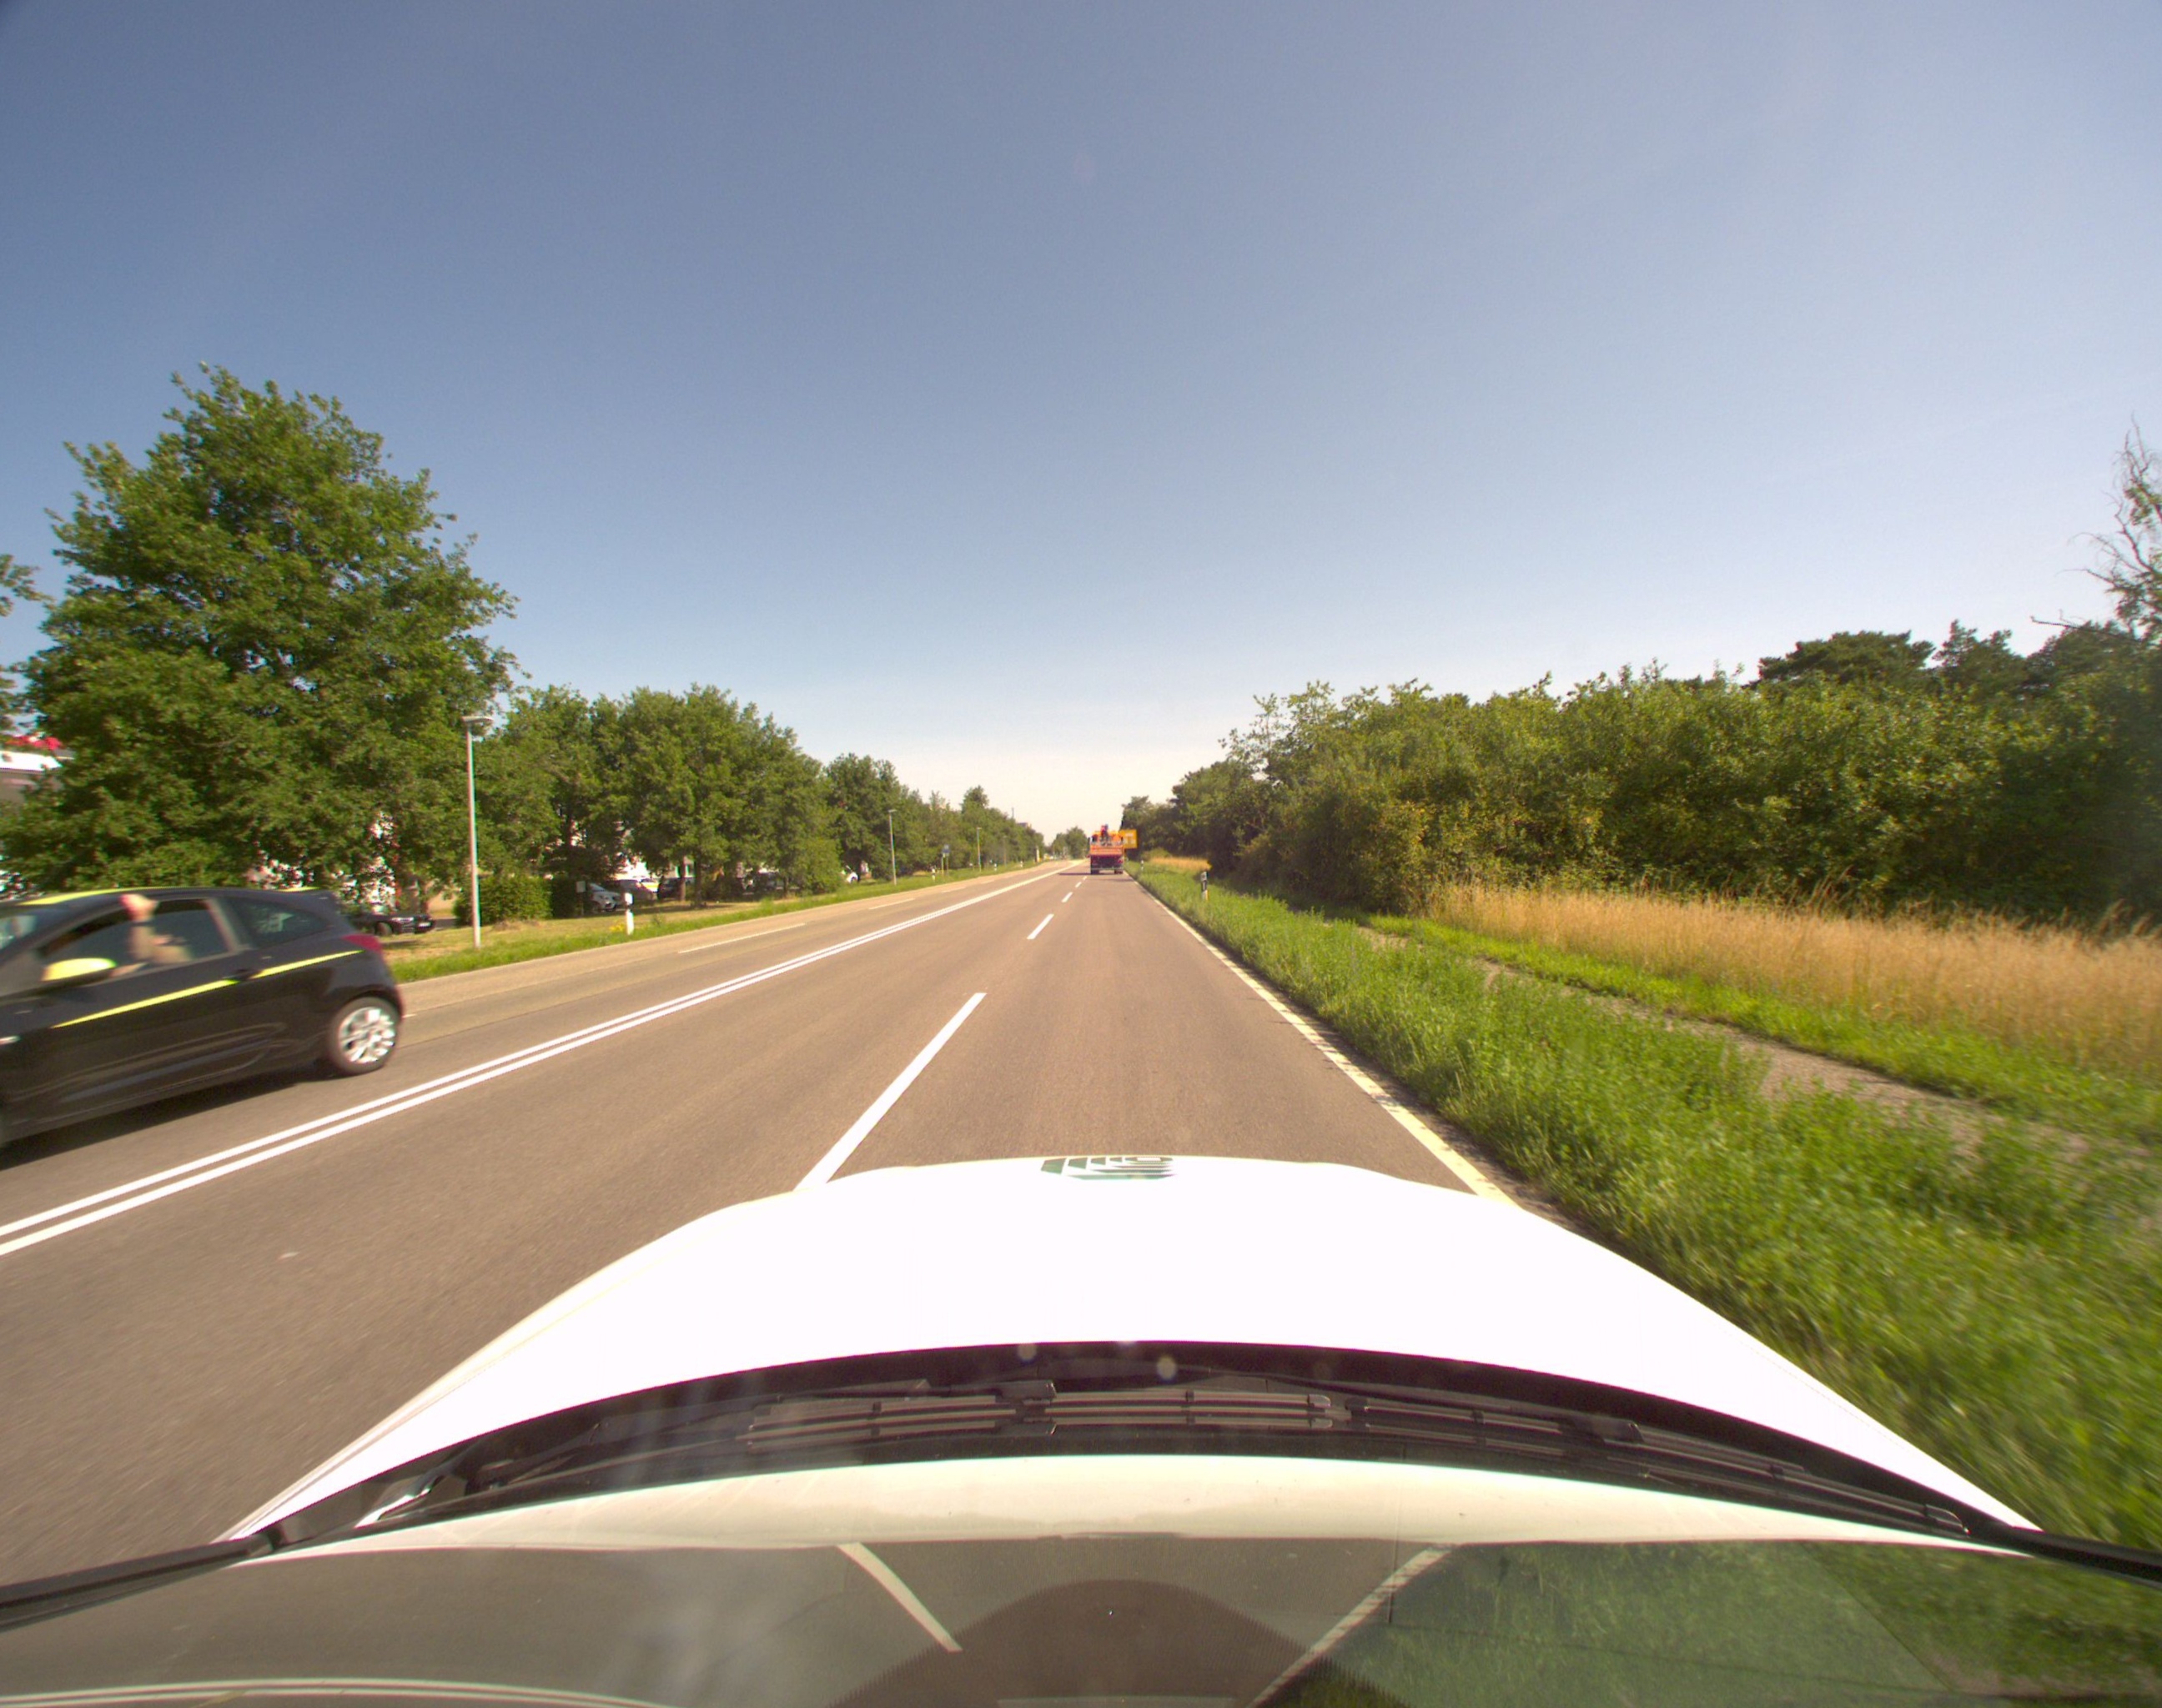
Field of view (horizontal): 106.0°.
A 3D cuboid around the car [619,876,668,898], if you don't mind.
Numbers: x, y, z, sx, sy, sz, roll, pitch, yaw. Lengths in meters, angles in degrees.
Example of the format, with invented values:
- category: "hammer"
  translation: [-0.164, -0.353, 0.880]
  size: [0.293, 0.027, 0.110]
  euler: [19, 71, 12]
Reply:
- category: "car"
  translation: [-37.697, 2.782, 70.304]
  size: [1.849, 1.658, 4.170]
  euler: [-2, 0, 1]

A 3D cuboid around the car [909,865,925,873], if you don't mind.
- category: "car"
  translation: [-32.578, 3.012, 162.012]
  size: [1.985, 1.437, 4.959]
  euler: [-2, 0, 3]

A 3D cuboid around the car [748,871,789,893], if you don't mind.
- category: "car"
  translation: [-27.235, 2.430, 71.156]
  size: [1.922, 1.652, 4.191]
  euler: [-2, 0, 0]

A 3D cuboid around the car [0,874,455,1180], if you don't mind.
- category: "car"
  translation: [-6.145, 0.951, 5.006]
  size: [1.511, 1.450, 3.776]
  euler: [-4, 0, 1]

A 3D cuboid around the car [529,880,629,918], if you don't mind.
- category: "car"
  translation: [-28.020, 2.497, 45.525]
  size: [4.208, 1.730, 2.000]
  euler: [-4, 0, 1]

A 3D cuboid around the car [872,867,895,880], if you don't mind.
- category: "car"
  translation: [-25.197, 2.462, 104.089]
  size: [1.737, 1.578, 4.550]
  euler: [-3, 0, 1]

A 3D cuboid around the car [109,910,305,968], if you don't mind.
- category: "car"
  translation: [-28.507, 2.739, 26.658]
  size: [4.335, 1.325, 1.857]
  euler: [-6, -1, 1]

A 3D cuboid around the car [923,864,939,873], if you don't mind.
- category: "car"
  translation: [-29.969, 2.884, 162.569]
  size: [1.985, 1.437, 4.959]
  euler: [-2, 0, 3]

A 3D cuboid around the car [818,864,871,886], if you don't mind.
- category: "car"
  translation: [-23.856, 2.080, 82.273]
  size: [2.047, 1.929, 5.048]
  euler: [-3, -1, 32]

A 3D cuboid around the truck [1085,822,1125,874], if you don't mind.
- category: "truck"
  translation: [1.766, -0.439, 63.728]
  size: [2.863, 3.880, 7.397]
  euler: [0, 0, -1]
